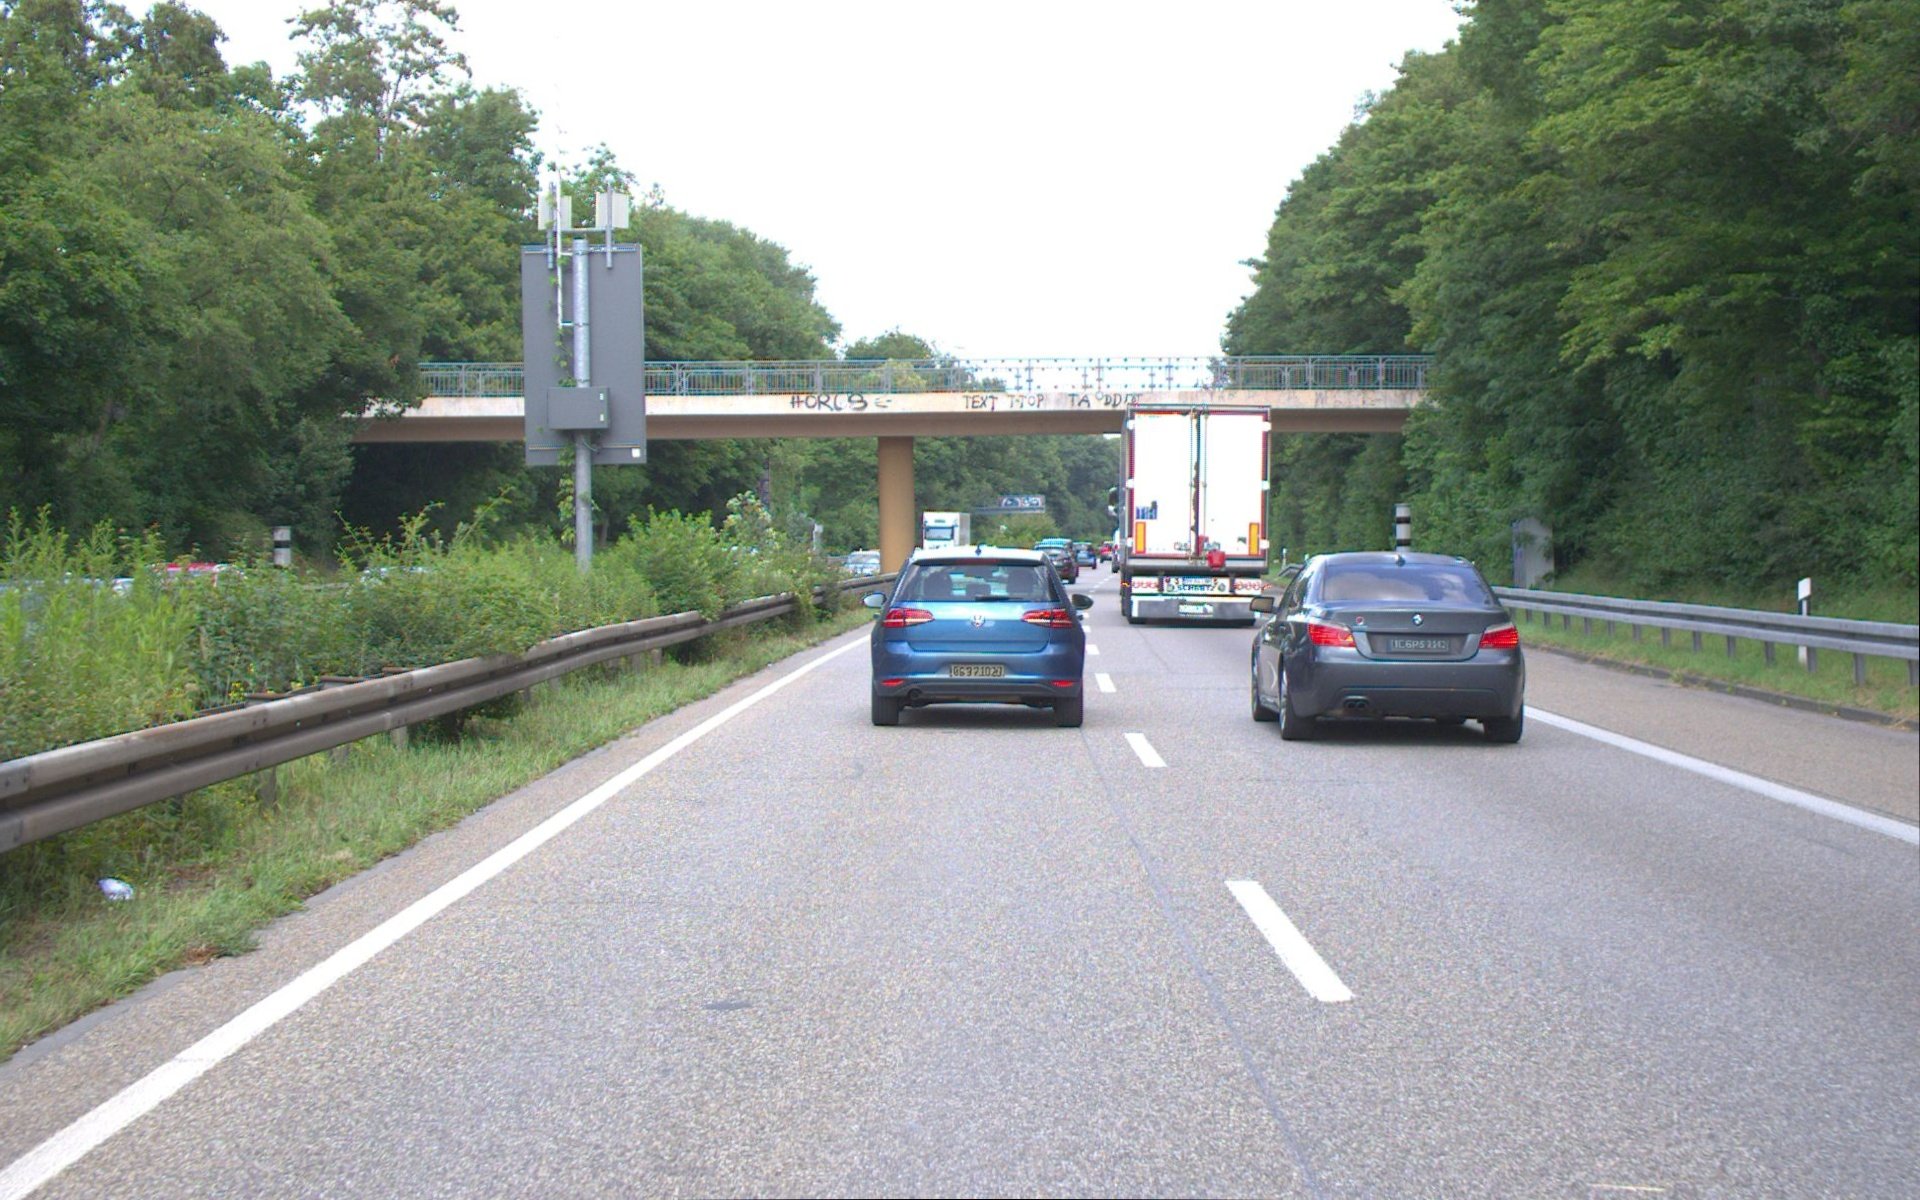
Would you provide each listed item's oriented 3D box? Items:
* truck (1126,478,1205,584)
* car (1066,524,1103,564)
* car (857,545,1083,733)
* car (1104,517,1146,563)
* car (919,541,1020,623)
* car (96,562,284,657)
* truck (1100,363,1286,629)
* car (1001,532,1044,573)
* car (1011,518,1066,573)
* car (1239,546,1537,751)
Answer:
[{"bbox_3d":[8.848,-2.920,148.822,3.232,4.371,12.969,0,0,3],"label":"truck"},{"bbox_3d":[7.223,-3.258,199.728,1.993,2.319,4.442,-1,1,1],"label":"car"},{"bbox_3d":[0.148,0.277,29.189,1.705,1.465,4.000,1,1,3],"label":"car"},{"bbox_3d":[8.489,-3.109,177.269,1.993,2.247,4.442,0,2,1],"label":"car"},{"bbox_3d":[0.208,-0.358,65.176,1.665,1.495,4.152,0,1,3],"label":"car"},{"bbox_3d":[-11.695,0.116,52.489,1.863,1.348,4.251,-1,1,1],"label":"car"},{"bbox_3d":[4.459,-1.966,66.833,3.242,4.700,11.006,-1,1,3],"label":"truck"},{"bbox_3d":[2.781,-2.118,151.860,1.766,1.766,4.023,-1,1,2],"label":"car"},{"bbox_3d":[2.955,-2.053,128.711,1.954,2.007,4.000,-1,1,3],"label":"car"},{"bbox_3d":[3.328,0.319,27.573,1.774,1.470,4.880,1,1,0],"label":"car"}]
